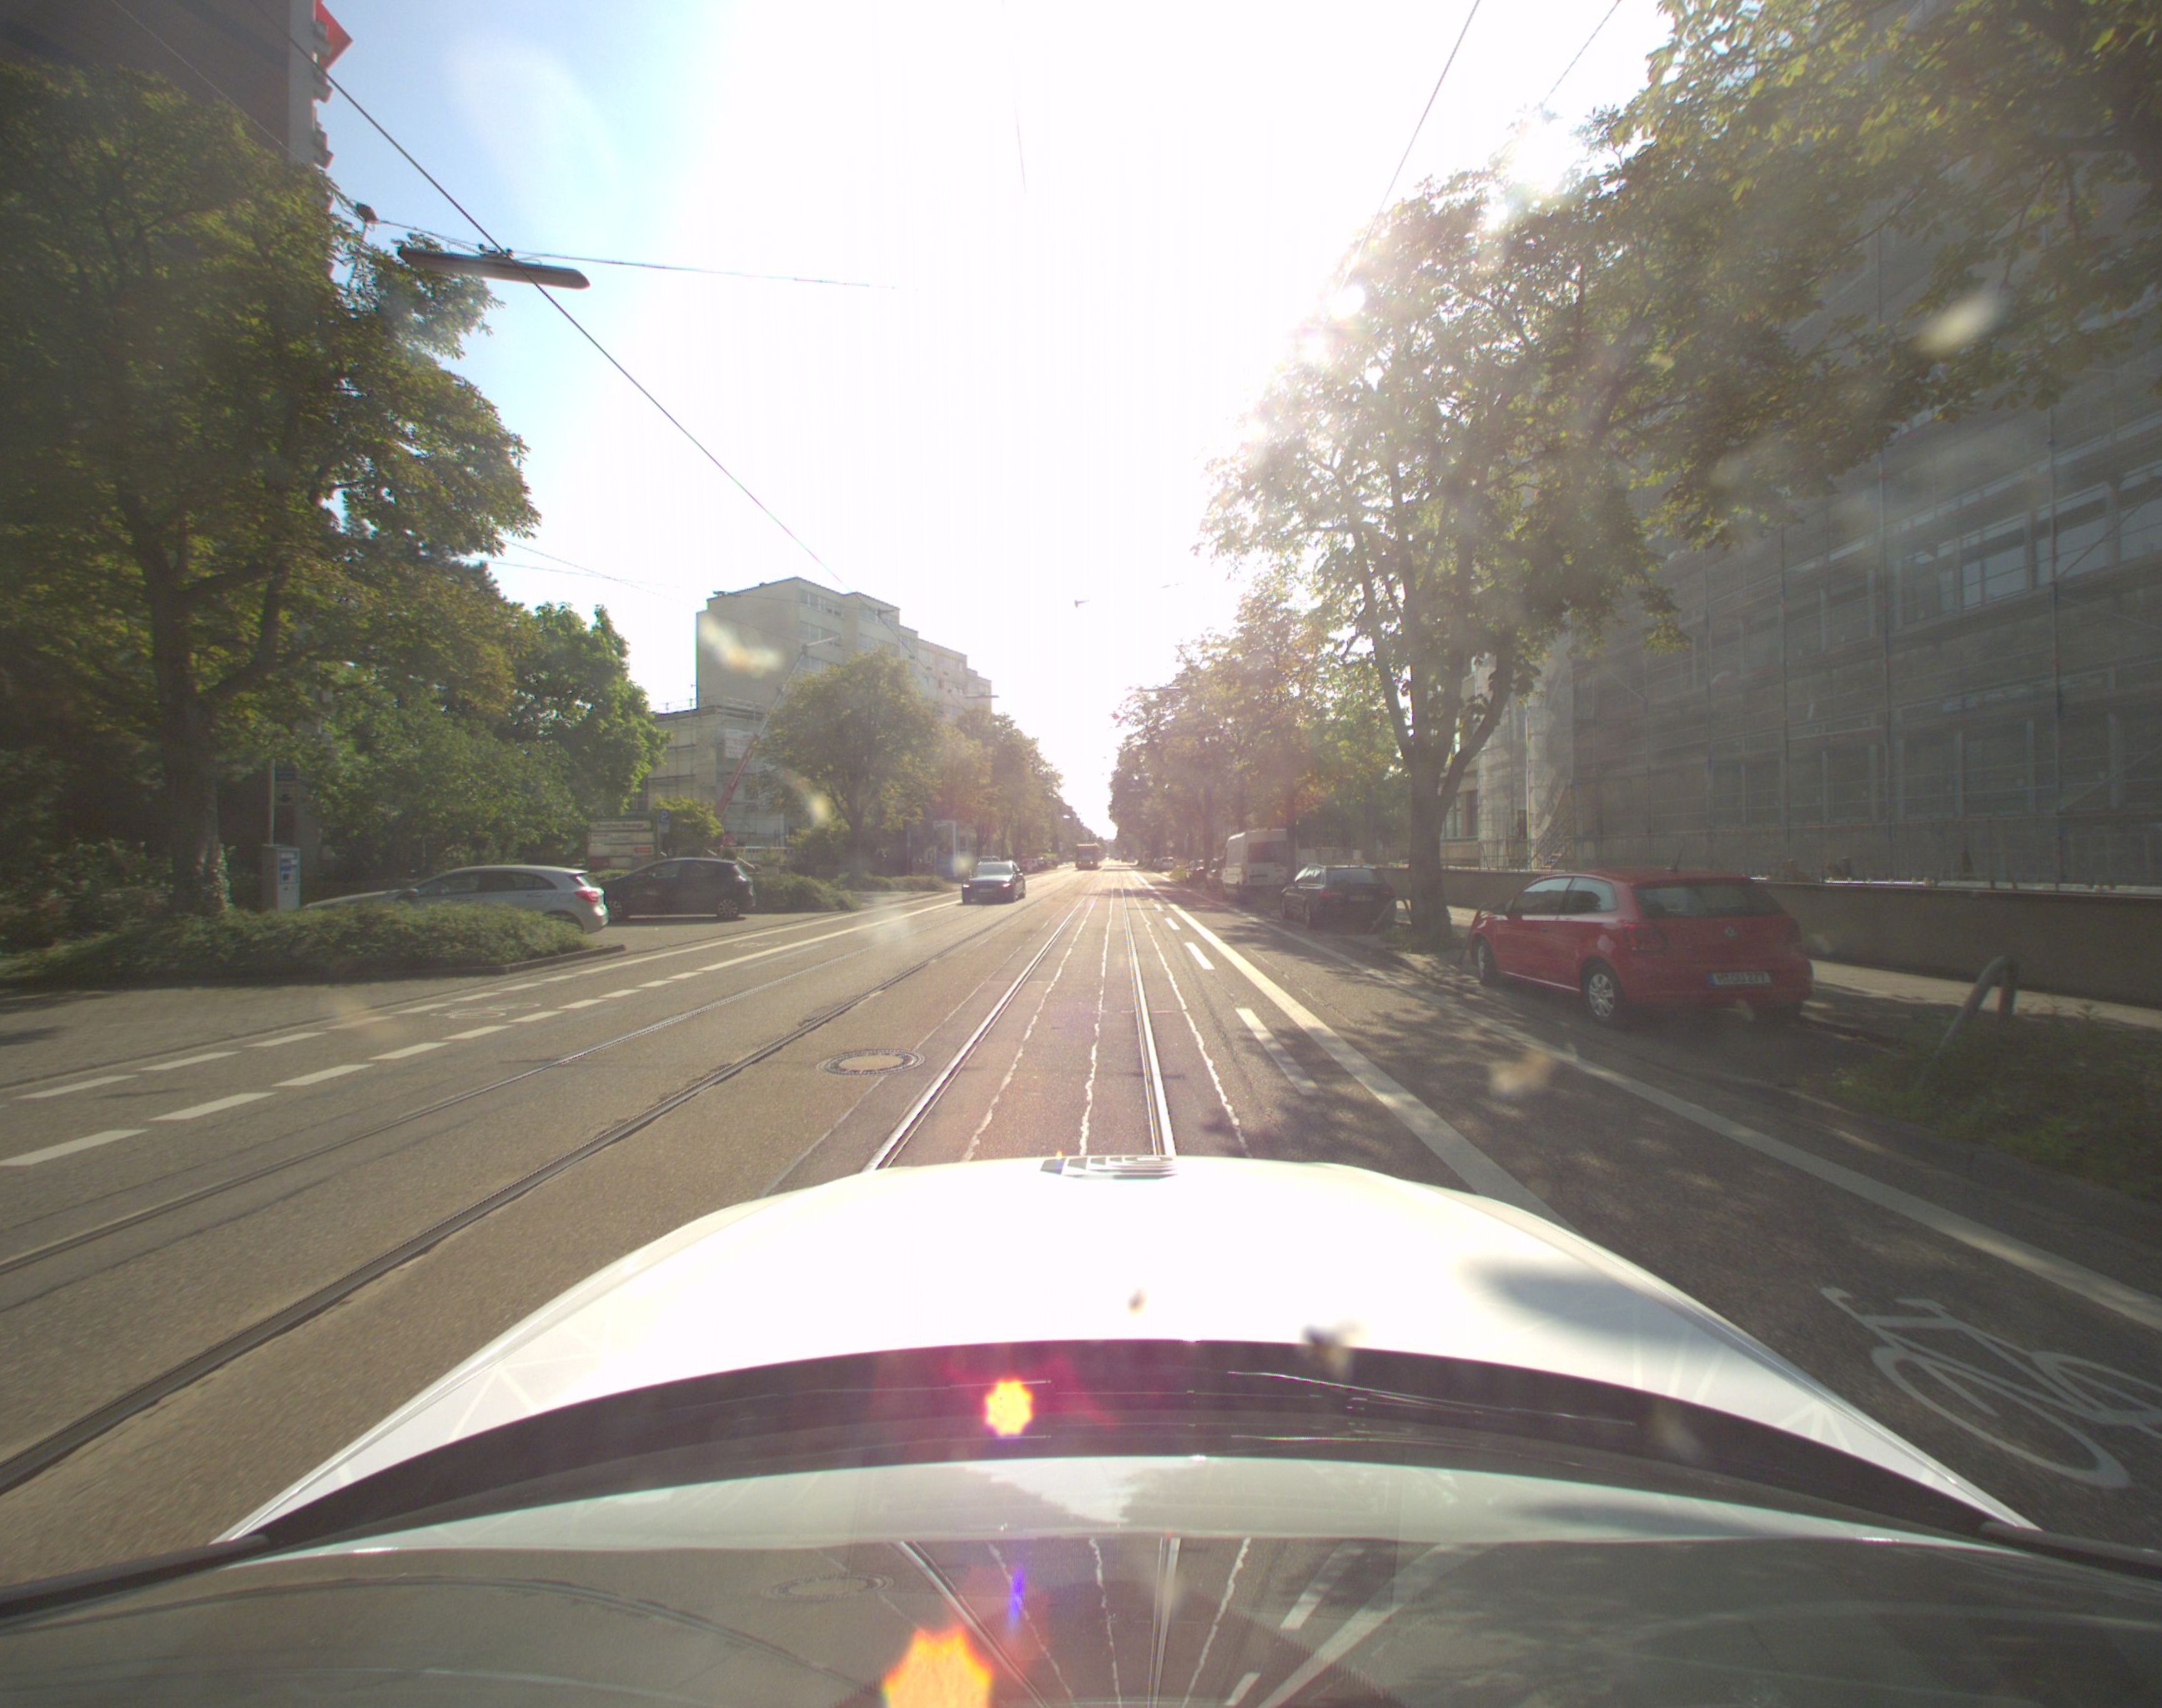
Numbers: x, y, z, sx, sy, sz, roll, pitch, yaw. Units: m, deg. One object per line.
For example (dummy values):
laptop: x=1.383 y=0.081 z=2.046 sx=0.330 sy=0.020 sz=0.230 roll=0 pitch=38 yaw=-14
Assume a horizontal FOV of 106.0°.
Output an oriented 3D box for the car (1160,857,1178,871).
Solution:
car: x=8.843 y=0.971 z=81.931 sx=1.682 sy=1.418 sz=3.637 roll=0 pitch=0 yaw=3

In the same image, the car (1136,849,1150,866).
car: x=9.460 y=0.483 z=123.704 sx=1.996 sy=2.490 sz=4.481 roll=1 pitch=-1 yaw=3

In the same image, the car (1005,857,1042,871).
car: x=-6.043 y=1.035 z=86.002 sx=1.550 sy=1.443 sz=3.786 roll=-1 pitch=0 yaw=42

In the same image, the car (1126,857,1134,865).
car: x=12.131 y=1.769 z=200.832 sx=1.985 sy=1.838 sz=4.004 roll=-1 pitch=0 yaw=4

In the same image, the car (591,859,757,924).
car: x=-10.224 y=0.907 z=20.748 sx=3.649 sy=1.515 sz=1.609 roll=1 pitch=0 yaw=-23

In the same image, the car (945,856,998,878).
car: x=-8.614 y=0.999 z=64.302 sx=3.816 sy=1.621 sz=1.723 roll=0 pitch=0 yaw=-42

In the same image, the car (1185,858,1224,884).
car: x=7.288 y=0.986 z=48.402 sx=1.746 sy=1.377 sz=4.722 roll=-2 pitch=0 yaw=3

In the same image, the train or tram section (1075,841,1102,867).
train or tram section: x=1.037 y=0.069 z=100.996 sx=2.718 sy=2.894 sz=15.464 roll=-1 pitch=0 yaw=3

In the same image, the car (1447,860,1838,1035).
car: x=5.607 y=0.805 z=8.836 sx=1.610 sy=1.413 sz=4.003 roll=-2 pitch=0 yaw=3

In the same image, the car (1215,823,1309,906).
car: x=6.376 y=0.359 z=29.399 sx=2.075 sy=2.552 sz=5.502 roll=-4 pitch=0 yaw=1

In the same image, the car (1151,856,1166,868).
car: x=9.126 y=0.923 z=95.580 sx=1.588 sy=1.418 sz=3.637 roll=-1 pitch=0 yaw=3

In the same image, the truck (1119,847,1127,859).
truck: x=10.966 y=-0.192 z=212.553 sx=1.854 sy=3.131 sz=4.352 roll=-1 pitch=0 yaw=0

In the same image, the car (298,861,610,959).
car: x=-10.544 y=0.862 z=14.135 sx=4.009 sy=1.479 sz=1.773 roll=0 pitch=0 yaw=-27

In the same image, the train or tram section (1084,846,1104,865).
train or tram section: x=2.092 y=0.258 z=124.249 sx=2.669 sy=2.862 sz=10.550 roll=-1 pitch=0 yaw=3

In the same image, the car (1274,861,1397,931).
car: x=5.795 y=0.886 z=19.146 sx=1.610 sy=1.374 sz=4.831 roll=-2 pitch=0 yaw=3

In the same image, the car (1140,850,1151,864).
car: x=11.949 y=0.499 z=150.785 sx=1.996 sy=2.475 sz=4.481 roll=-1 pitch=0 yaw=3

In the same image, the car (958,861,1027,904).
car: x=-3.082 y=0.958 z=29.282 sx=1.821 sy=1.376 sz=4.514 roll=-1 pitch=0 yaw=2

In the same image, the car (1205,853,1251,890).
car: x=6.947 y=0.783 z=38.806 sx=1.657 sy=1.616 sz=3.880 roll=-2 pitch=0 yaw=3

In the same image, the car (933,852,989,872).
car: x=-8.999 y=0.582 z=61.157 sx=3.815 sy=1.442 sz=1.674 roll=0 pitch=0 yaw=-40
